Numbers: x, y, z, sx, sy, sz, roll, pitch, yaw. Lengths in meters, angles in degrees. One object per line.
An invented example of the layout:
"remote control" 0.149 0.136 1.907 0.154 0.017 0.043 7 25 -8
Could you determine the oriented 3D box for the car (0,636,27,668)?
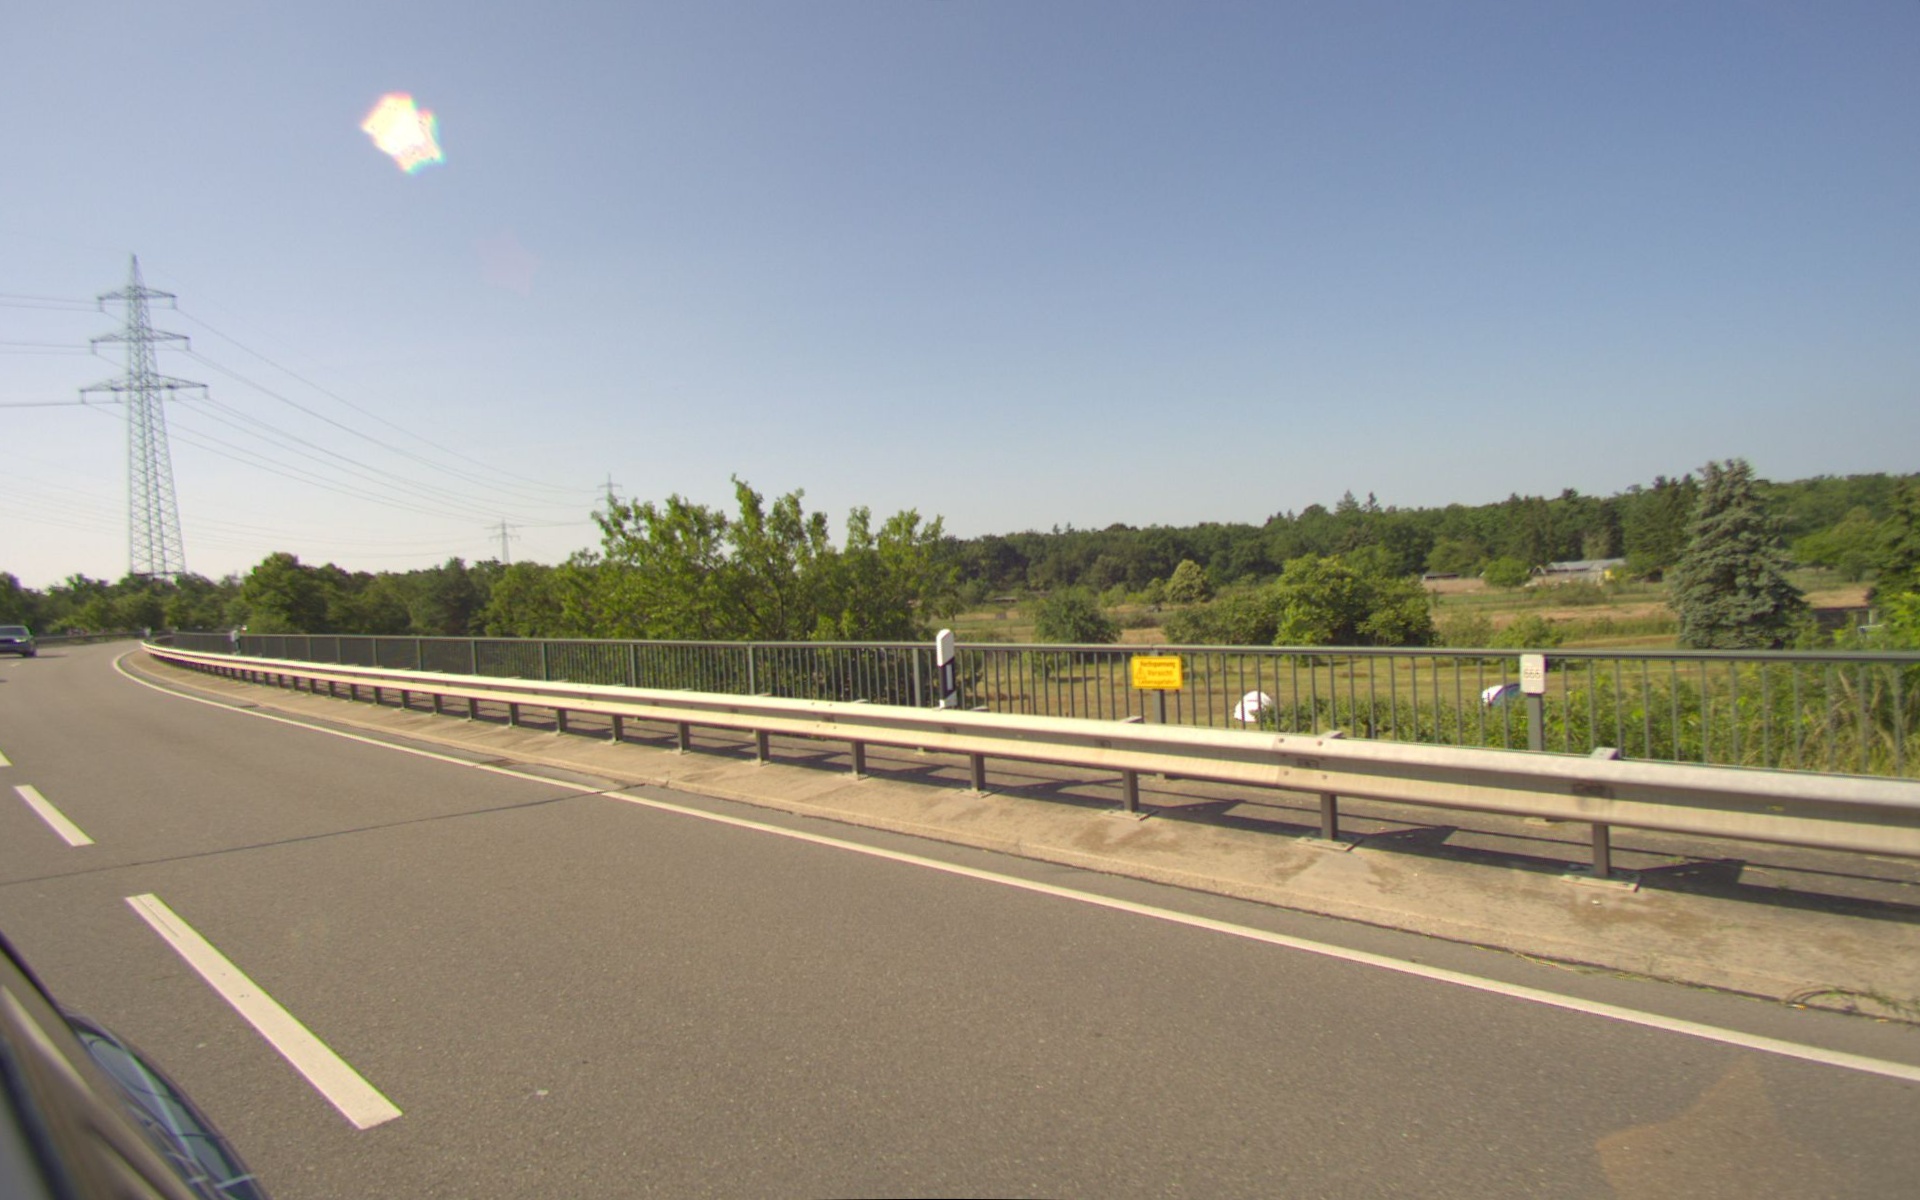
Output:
"car" -49.800 2.698 52.580 1.582 1.506 4.008 -2 1 -37
